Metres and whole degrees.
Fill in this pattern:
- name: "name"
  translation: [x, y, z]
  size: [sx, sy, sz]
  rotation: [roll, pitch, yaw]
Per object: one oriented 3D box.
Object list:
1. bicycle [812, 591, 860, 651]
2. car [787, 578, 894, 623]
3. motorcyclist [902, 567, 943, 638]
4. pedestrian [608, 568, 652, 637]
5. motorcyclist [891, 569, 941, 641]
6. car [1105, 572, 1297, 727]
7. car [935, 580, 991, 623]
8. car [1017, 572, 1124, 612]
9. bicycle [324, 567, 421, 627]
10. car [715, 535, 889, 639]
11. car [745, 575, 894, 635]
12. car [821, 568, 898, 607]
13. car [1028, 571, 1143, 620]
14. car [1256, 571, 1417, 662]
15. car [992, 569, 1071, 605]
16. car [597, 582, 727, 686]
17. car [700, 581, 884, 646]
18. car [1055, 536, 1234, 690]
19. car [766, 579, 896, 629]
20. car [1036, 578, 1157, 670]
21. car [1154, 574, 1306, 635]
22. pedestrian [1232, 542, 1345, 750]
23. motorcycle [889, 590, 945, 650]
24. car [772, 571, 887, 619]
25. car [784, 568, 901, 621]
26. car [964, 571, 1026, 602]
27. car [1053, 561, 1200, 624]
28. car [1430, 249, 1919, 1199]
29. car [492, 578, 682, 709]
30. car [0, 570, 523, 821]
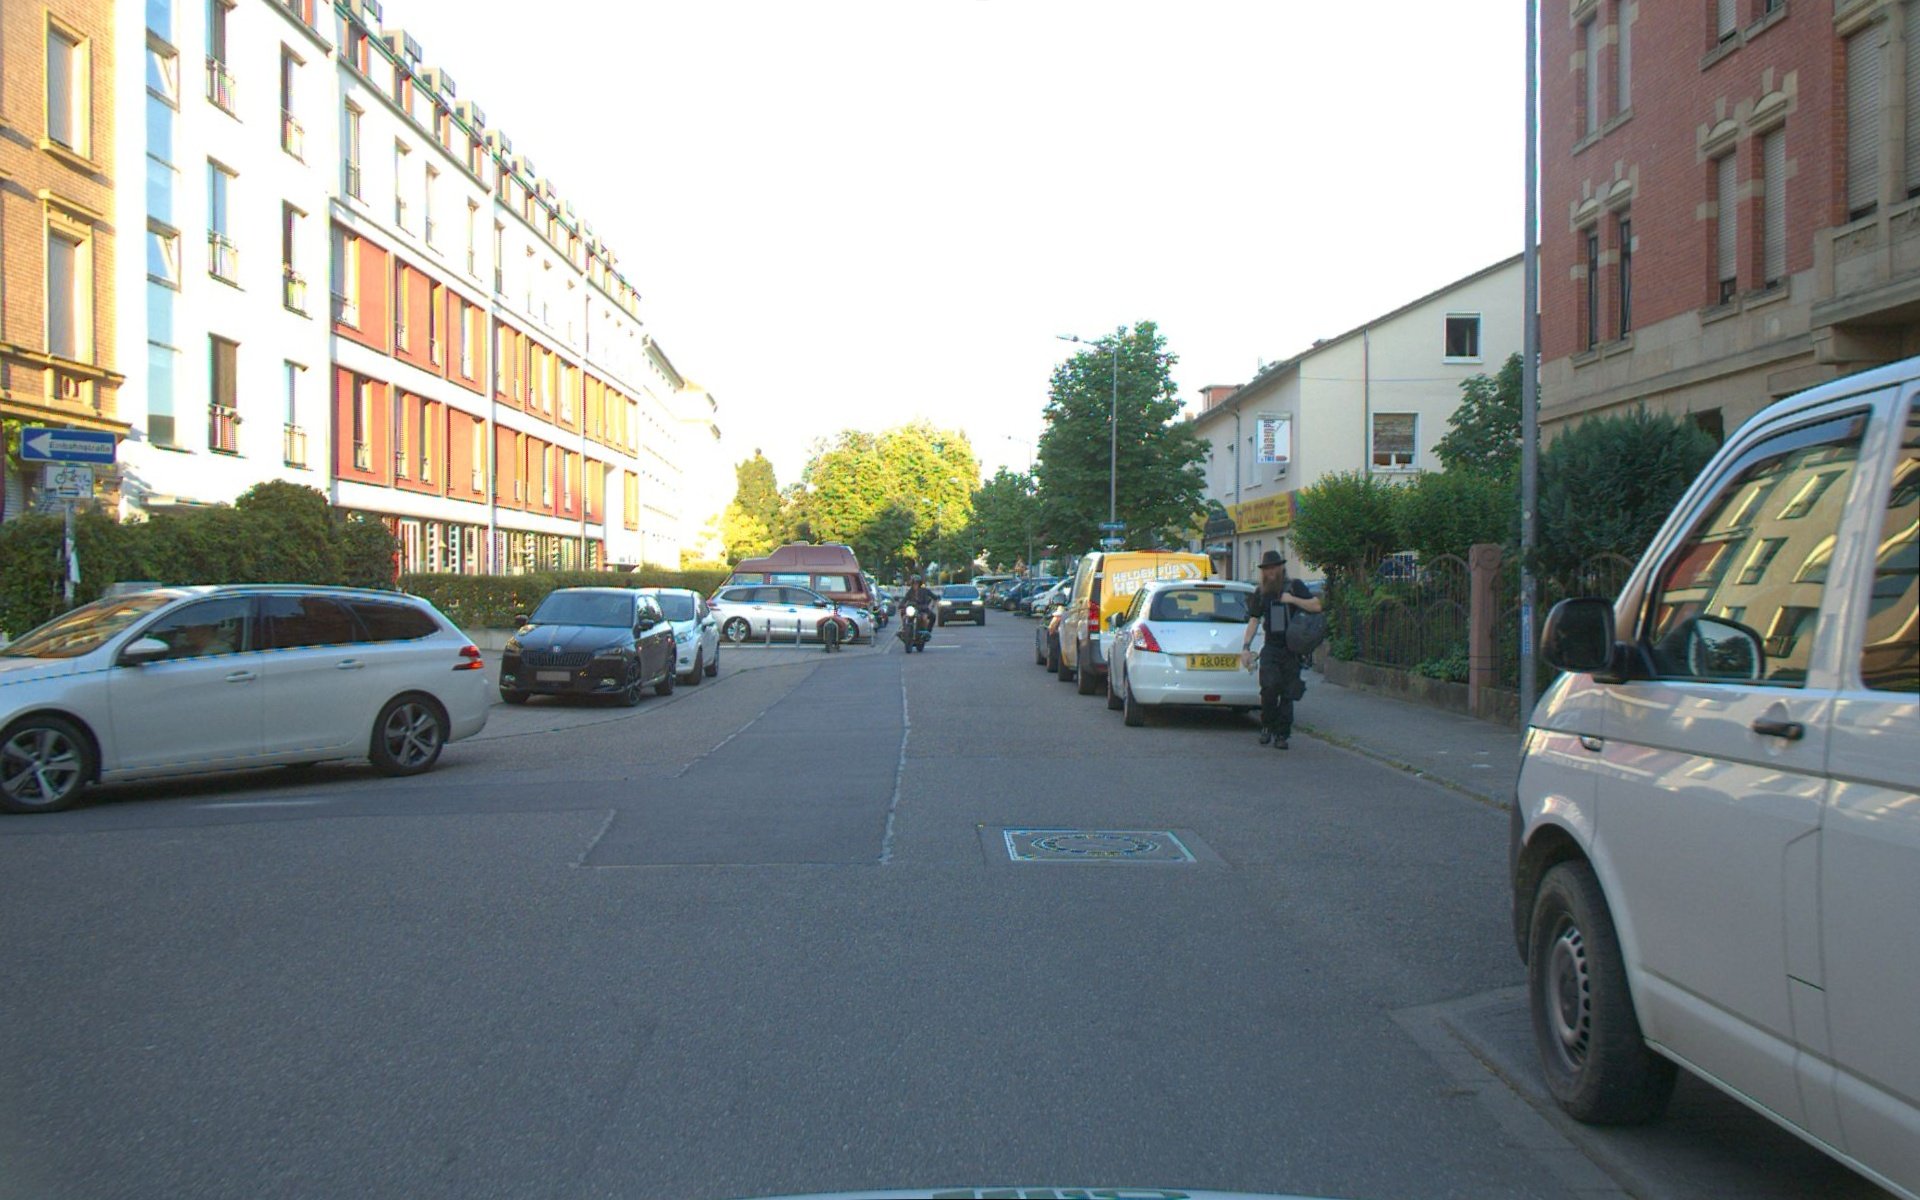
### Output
- name: "bicycle"
  translation: [-2.738, 0.434, 36.836]
  size: [0.791, 1.242, 2.865]
  rotation: [2, 1, 1]
- name: "car"
  translation: [-4.804, 0.004, 67.107]
  size: [4.170, 1.681, 1.888]
  rotation: [2, 1, -1]
- name: "motorcyclist"
  translation: [-0.838, 0.054, 37.063]
  size: [0.770, 1.567, 0.546]
  rotation: [-2, 0, 9]
- name: "pedestrian"
  translation: [-7.567, 0.051, 37.931]
  size: [0.815, 1.527, 0.798]
  rotation: [2, 0, 0]
- name: "motorcyclist"
  translation: [-0.963, 0.097, 36.300]
  size: [0.870, 1.531, 0.970]
  rotation: [-2, 0, 9]
- name: "car"
  translation: [2.531, 0.465, 18.182]
  size: [1.640, 1.503, 3.863]
  rotation: [1, 1, 2]
- name: "car"
  translation: [0.129, 0.039, 62.591]
  size: [1.742, 1.544, 4.003]
  rotation: [-1, 1, 5]
- name: "car"
  translation: [5.211, -0.374, 78.459]
  size: [4.845, 1.718, 2.076]
  rotation: [-2, 1, -3]
- name: "bicycle"
  translation: [-12.009, -0.062, 33.855]
  size: [1.739, 1.168, 0.610]
  rotation: [2, 0, 1]
- name: "car"
  translation: [-4.218, -0.362, 44.686]
  size: [4.418, 2.629, 2.000]
  rotation: [2, 0, 1]
- name: "car"
  translation: [-3.961, 0.141, 47.262]
  size: [4.125, 1.565, 1.790]
  rotation: [2, 1, -3]
- name: "car"
  translation: [-5.944, -0.760, 98.147]
  size: [4.441, 2.171, 2.000]
  rotation: [2, 0, -1]
- name: "car"
  translation: [5.543, -0.194, 73.521]
  size: [4.845, 1.992, 2.048]
  rotation: [-2, 0, -3]
- name: "car"
  translation: [6.534, 0.243, 29.181]
  size: [1.691, 1.449, 4.422]
  rotation: [-1, 1, -2]
- name: "car"
  translation: [4.138, -0.769, 95.924]
  size: [4.392, 1.945, 1.686]
  rotation: [-2, 0, -6]
- name: "car"
  translation: [-4.819, 0.494, 27.217]
  size: [1.618, 1.557, 4.015]
  rotation: [1, 1, -3]
- name: "car"
  translation: [-4.225, 0.319, 42.113]
  size: [4.525, 1.485, 1.879]
  rotation: [2, 1, -4]
- name: "car"
  translation: [2.479, 0.137, 23.466]
  size: [1.855, 1.917, 5.081]
  rotation: [1, 1, -1]
- name: "car"
  translation: [-4.234, 0.121, 54.867]
  size: [4.123, 1.516, 1.850]
  rotation: [2, 1, 0]
- name: "car"
  translation: [2.320, 0.367, 29.114]
  size: [1.686, 1.449, 4.252]
  rotation: [1, 1, -1]
- name: "car"
  translation: [7.518, 0.111, 46.244]
  size: [3.967, 1.540, 1.757]
  rotation: [-1, 2, 0]
- name: "pedestrian"
  translation: [2.927, 0.386, 14.683]
  size: [0.869, 1.752, 0.959]
  rotation: [2, 0, 16]
- name: "motorcycle"
  translation: [-0.928, 0.427, 36.420]
  size: [0.828, 1.230, 2.076]
  rotation: [-2, 0, 9]
- name: "car"
  translation: [-4.919, -0.200, 62.748]
  size: [4.170, 1.689, 2.000]
  rotation: [2, 1, -1]
- name: "car"
  translation: [-4.908, -0.246, 69.659]
  size: [4.752, 2.056, 1.906]
  rotation: [2, 0, -1]
- name: "car"
  translation: [2.351, -0.895, 111.495]
  size: [3.891, 1.945, 2.047]
  rotation: [-2, 1, -6]
- name: "car"
  translation: [5.831, -0.286, 58.360]
  size: [4.888, 2.018, 2.220]
  rotation: [-2, 1, 0]
- name: "car"
  translation: [2.641, 0.390, 2.950]
  size: [1.824, 2.074, 5.543]
  rotation: [-1, 1, -2]
- name: "car"
  translation: [-4.818, 0.502, 21.869]
  size: [1.669, 1.561, 3.844]
  rotation: [1, 1, -1]
- name: "car"
  translation: [-5.626, 0.566, 12.189]
  size: [1.784, 1.549, 4.582]
  rotation: [0, 1, 35]
